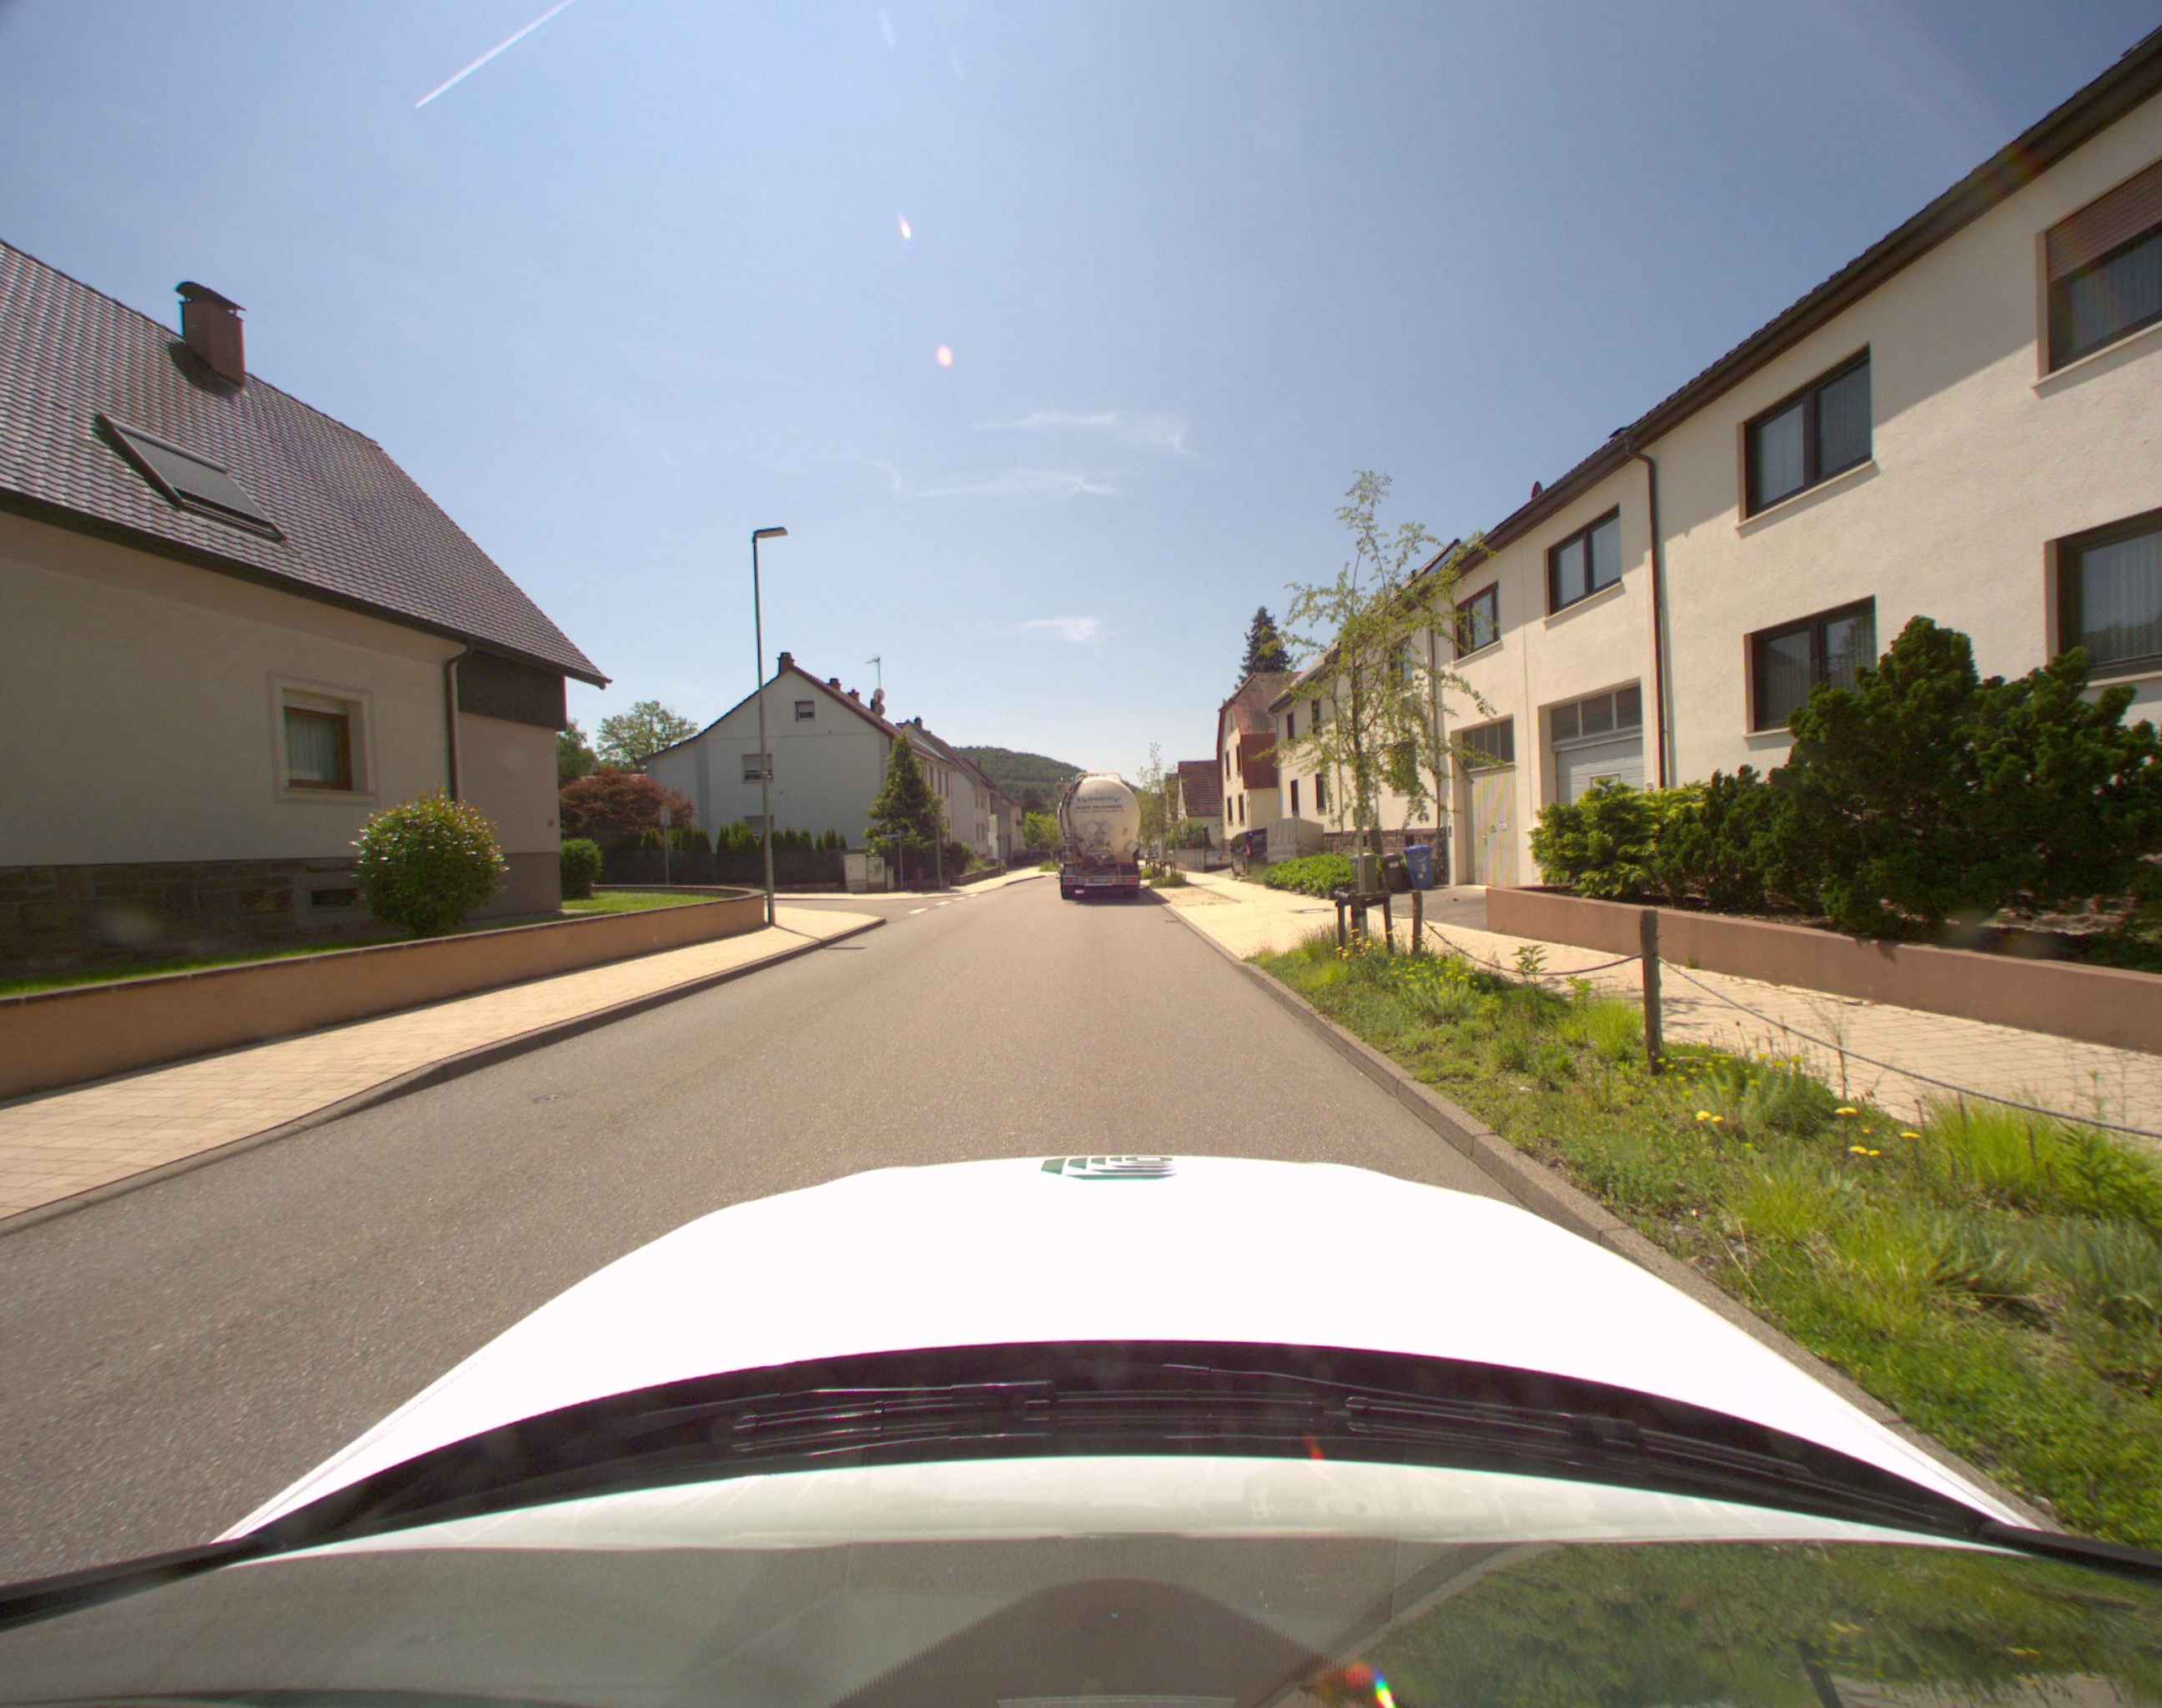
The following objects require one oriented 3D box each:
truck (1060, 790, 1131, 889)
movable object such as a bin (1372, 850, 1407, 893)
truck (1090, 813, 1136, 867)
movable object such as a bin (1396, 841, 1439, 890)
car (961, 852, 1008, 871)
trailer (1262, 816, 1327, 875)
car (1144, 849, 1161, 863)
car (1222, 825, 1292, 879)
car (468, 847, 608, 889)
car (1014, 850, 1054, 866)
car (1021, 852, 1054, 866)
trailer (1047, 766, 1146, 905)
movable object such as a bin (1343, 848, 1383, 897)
[{"bbox_3d":[0.704,-0.612,35.657,2.797,3.937,6.103,-1,0,2],"label":"truck"},{"bbox_3d":[7.611,0.419,20.131,0.555,0.986,0.804,-6,-1,8],"label":"movable object such as a bin"},{"bbox_3d":[3.099,-1.368,82.148,3.899,4.895,9.791,-3,0,-1],"label":"truck"},{"bbox_3d":[8.280,0.275,20.066,0.681,1.106,0.864,-5,-1,7],"label":"movable object such as a bin"},{"bbox_3d":[-8.722,0.676,73.634,3.972,1.545,1.833,-1,0,1],"label":"car"},{"bbox_3d":[7.706,-0.292,29.306,1.308,2.013,2.287,-1,0,43],"label":"trailer"},{"bbox_3d":[8.972,0.286,102.676,1.784,1.541,4.522,-5,0,3],"label":"car"},{"bbox_3d":[7.264,-0.069,34.016,1.846,1.971,4.774,-4,0,1],"label":"car"},{"bbox_3d":[-18.744,0.471,28.205,3.725,1.416,1.754,0,0,5],"label":"car"},{"bbox_3d":[-5.306,0.446,92.364,4.380,1.750,1.878,-2,0,0],"label":"car"},{"bbox_3d":[-5.155,0.599,96.522,3.505,1.439,1.710,-2,0,35],"label":"car"},{"bbox_3d":[0.538,-0.576,28.933,2.786,4.000,10.325,-1,0,1],"label":"trailer"},{"bbox_3d":[6.918,0.442,20.011,0.680,1.115,0.814,-6,-1,6],"label":"movable object such as a bin"}]
